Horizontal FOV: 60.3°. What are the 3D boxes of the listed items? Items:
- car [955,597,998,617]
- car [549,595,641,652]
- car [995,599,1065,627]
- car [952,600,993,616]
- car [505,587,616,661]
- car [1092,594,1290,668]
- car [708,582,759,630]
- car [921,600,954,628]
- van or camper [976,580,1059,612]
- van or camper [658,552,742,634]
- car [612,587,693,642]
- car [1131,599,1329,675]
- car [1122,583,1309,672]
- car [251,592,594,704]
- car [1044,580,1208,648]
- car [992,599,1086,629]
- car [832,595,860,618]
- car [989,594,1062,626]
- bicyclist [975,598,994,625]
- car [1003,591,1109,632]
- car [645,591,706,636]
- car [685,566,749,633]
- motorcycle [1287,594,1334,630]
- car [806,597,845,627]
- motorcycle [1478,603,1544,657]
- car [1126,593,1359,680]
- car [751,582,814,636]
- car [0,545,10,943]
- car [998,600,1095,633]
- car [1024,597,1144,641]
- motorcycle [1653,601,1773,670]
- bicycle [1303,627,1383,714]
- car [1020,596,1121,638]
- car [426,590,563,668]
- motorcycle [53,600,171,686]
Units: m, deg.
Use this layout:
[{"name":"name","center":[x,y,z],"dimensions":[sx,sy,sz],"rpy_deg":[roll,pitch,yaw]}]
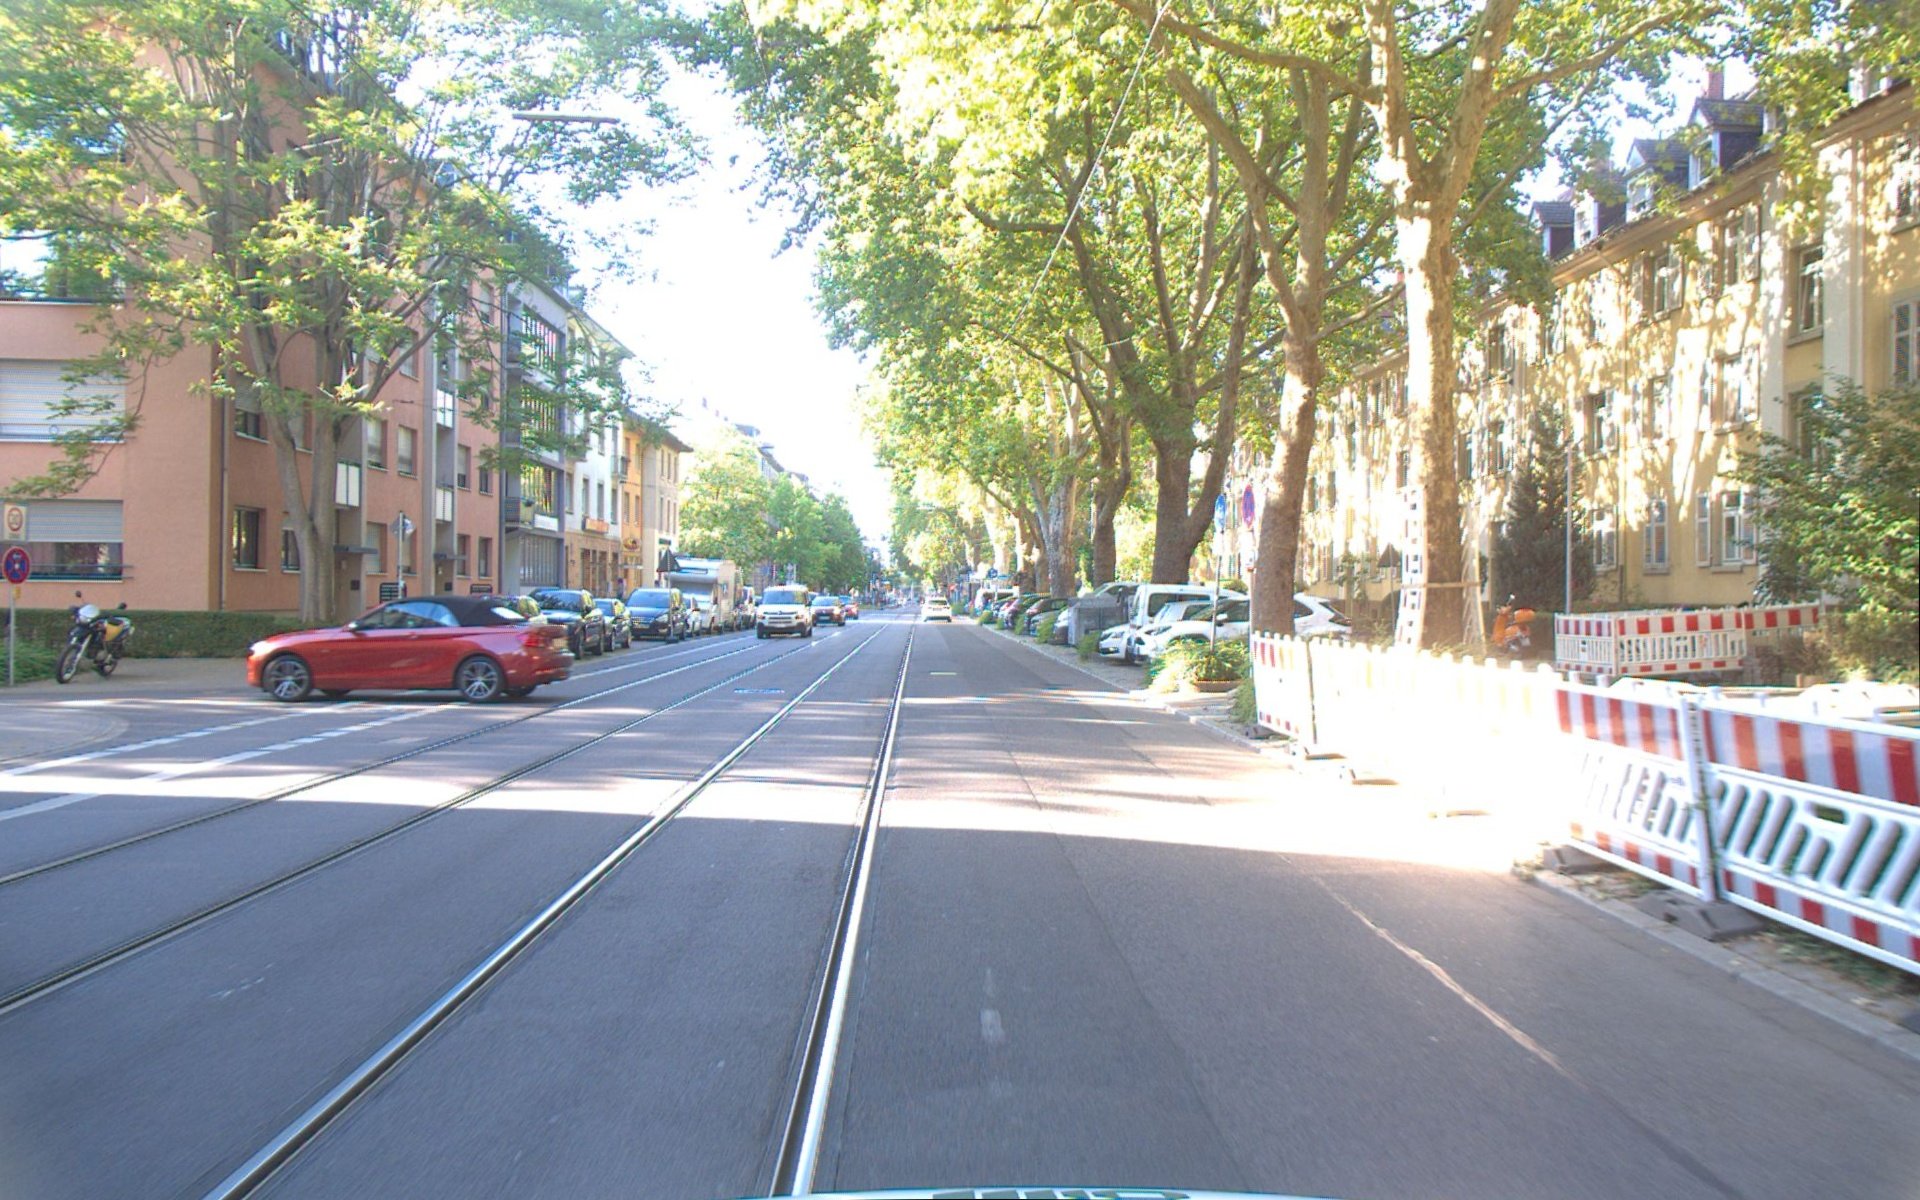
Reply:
[{"name":"car","center":[1.533,0.632,154.342],"dimensions":[3.906,1.816,1.999],"rpy_deg":[0,0,-1]},{"name":"car","center":[-10.177,0.626,46.395],"dimensions":[1.703,1.425,4.381],"rpy_deg":[3,0,-2]},{"name":"car","center":[3.705,0.684,88.072],"dimensions":[3.576,1.402,1.889],"rpy_deg":[1,0,-1]},{"name":"car","center":[1.168,0.753,156.638],"dimensions":[3.906,1.547,1.999],"rpy_deg":[0,0,-1]},{"name":"car","center":[-9.885,0.563,41.252],"dimensions":[1.745,1.638,4.586],"rpy_deg":[3,0,-2]},{"name":"car","center":[5.166,0.677,37.457],"dimensions":[4.279,1.569,1.802],"rpy_deg":[1,1,2]},{"name":"car","center":[-11.034,0.268,80.921],"dimensions":[1.914,2.127,5.245],"rpy_deg":[4,1,-3]},{"name":"car","center":[-1.379,0.830,99.230],"dimensions":[1.879,1.612,3.790],"rpy_deg":[-1,0,-2]},{"name":"van or camper","center":[3.955,-0.268,114.356],"dimensions":[5.448,2.048,2.242],"rpy_deg":[0,2,-6]},{"name":"van or camper","center":[-10.648,-0.285,68.259],"dimensions":[2.290,3.094,6.396],"rpy_deg":[4,0,-1]},{"name":"car","center":[-10.351,0.463,56.009],"dimensions":[1.913,1.716,5.068],"rpy_deg":[2,0,-2]},{"name":"car","center":[5.407,0.731,33.476],"dimensions":[3.764,1.458,1.852],"rpy_deg":[1,0,2]},{"name":"car","center":[5.420,0.570,35.439],"dimensions":[3.764,1.803,1.917],"rpy_deg":[1,0,2]},{"name":"car","center":[-7.383,0.699,22.973],"dimensions":[4.133,1.414,1.799],"rpy_deg":[-1,-4,4]},{"name":"car","center":[5.062,0.428,50.925],"dimensions":[4.740,1.998,2.063],"rpy_deg":[1,0,-4]},{"name":"car","center":[3.954,0.707,83.210],"dimensions":[4.592,1.472,1.891],"rpy_deg":[1,0,-2]},{"name":"car","center":[-7.462,0.441,108.501],"dimensions":[1.688,1.462,4.068],"rpy_deg":[-1,0,-2]},{"name":"car","center":[3.564,0.540,90.292],"dimensions":[3.846,1.699,1.959],"rpy_deg":[1,0,-3]},{"name":"bicyclist","center":[1.569,0.752,106.839],"dimensions":[1.027,1.735,1.055],"rpy_deg":[1,0,-11]},{"name":"car","center":[4.074,0.489,70.343],"dimensions":[4.402,1.630,2.028],"rpy_deg":[-1,0,2]},{"name":"car","center":[-10.571,0.491,61.750],"dimensions":[1.676,1.514,3.860],"rpy_deg":[4,0,-3]},{"name":"car","center":[-10.952,-0.040,74.865],"dimensions":[2.045,2.779,5.308],"rpy_deg":[4,0,-2]},{"name":"motorcycle","center":[14.412,0.504,67.990],"dimensions":[1.768,1.385,0.622],"rpy_deg":[-2,0,-4]},{"name":"car","center":[-6.817,0.591,84.132],"dimensions":[1.740,1.483,4.201],"rpy_deg":[-1,0,-2]},{"name":"motorcycle","center":[12.396,0.652,37.285],"dimensions":[0.700,1.173,2.263],"rpy_deg":[0,0,-1]},{"name":"car","center":[5.252,0.670,31.064],"dimensions":[4.006,1.548,1.915],"rpy_deg":[1,-1,-3]},{"name":"car","center":[-6.344,0.313,59.471],"dimensions":[1.853,1.864,4.893],"rpy_deg":[1,0,-2]},{"name":"car","center":[-4.806,0.600,4.592],"dimensions":[1.815,1.628,4.463],"rpy_deg":[0,0,-1]},{"name":"car","center":[3.888,0.739,74.815],"dimensions":[4.209,1.464,1.947],"rpy_deg":[1,0,-3]},{"name":"car","center":[4.448,0.681,59.810],"dimensions":[4.161,1.509,1.897],"rpy_deg":[1,0,-2]},{"name":"motorcycle","center":[14.244,0.662,31.308],"dimensions":[1.950,1.272,0.713],"rpy_deg":[1,0,-3]},{"name":"bicycle","center":[5.180,0.931,22.443],"dimensions":[0.622,1.089,1.808],"rpy_deg":[1,0,-1]},{"name":"car","center":[4.236,0.647,63.712],"dimensions":[3.761,1.536,1.710],"rpy_deg":[1,0,-2]},{"name":"car","center":[-10.024,0.598,35.897],"dimensions":[1.769,1.504,4.089],"rpy_deg":[3,0,-1]},{"name":"motorcycle","center":[-14.291,0.692,27.960],"dimensions":[0.884,1.303,2.347],"rpy_deg":[0,2,-4]}]
